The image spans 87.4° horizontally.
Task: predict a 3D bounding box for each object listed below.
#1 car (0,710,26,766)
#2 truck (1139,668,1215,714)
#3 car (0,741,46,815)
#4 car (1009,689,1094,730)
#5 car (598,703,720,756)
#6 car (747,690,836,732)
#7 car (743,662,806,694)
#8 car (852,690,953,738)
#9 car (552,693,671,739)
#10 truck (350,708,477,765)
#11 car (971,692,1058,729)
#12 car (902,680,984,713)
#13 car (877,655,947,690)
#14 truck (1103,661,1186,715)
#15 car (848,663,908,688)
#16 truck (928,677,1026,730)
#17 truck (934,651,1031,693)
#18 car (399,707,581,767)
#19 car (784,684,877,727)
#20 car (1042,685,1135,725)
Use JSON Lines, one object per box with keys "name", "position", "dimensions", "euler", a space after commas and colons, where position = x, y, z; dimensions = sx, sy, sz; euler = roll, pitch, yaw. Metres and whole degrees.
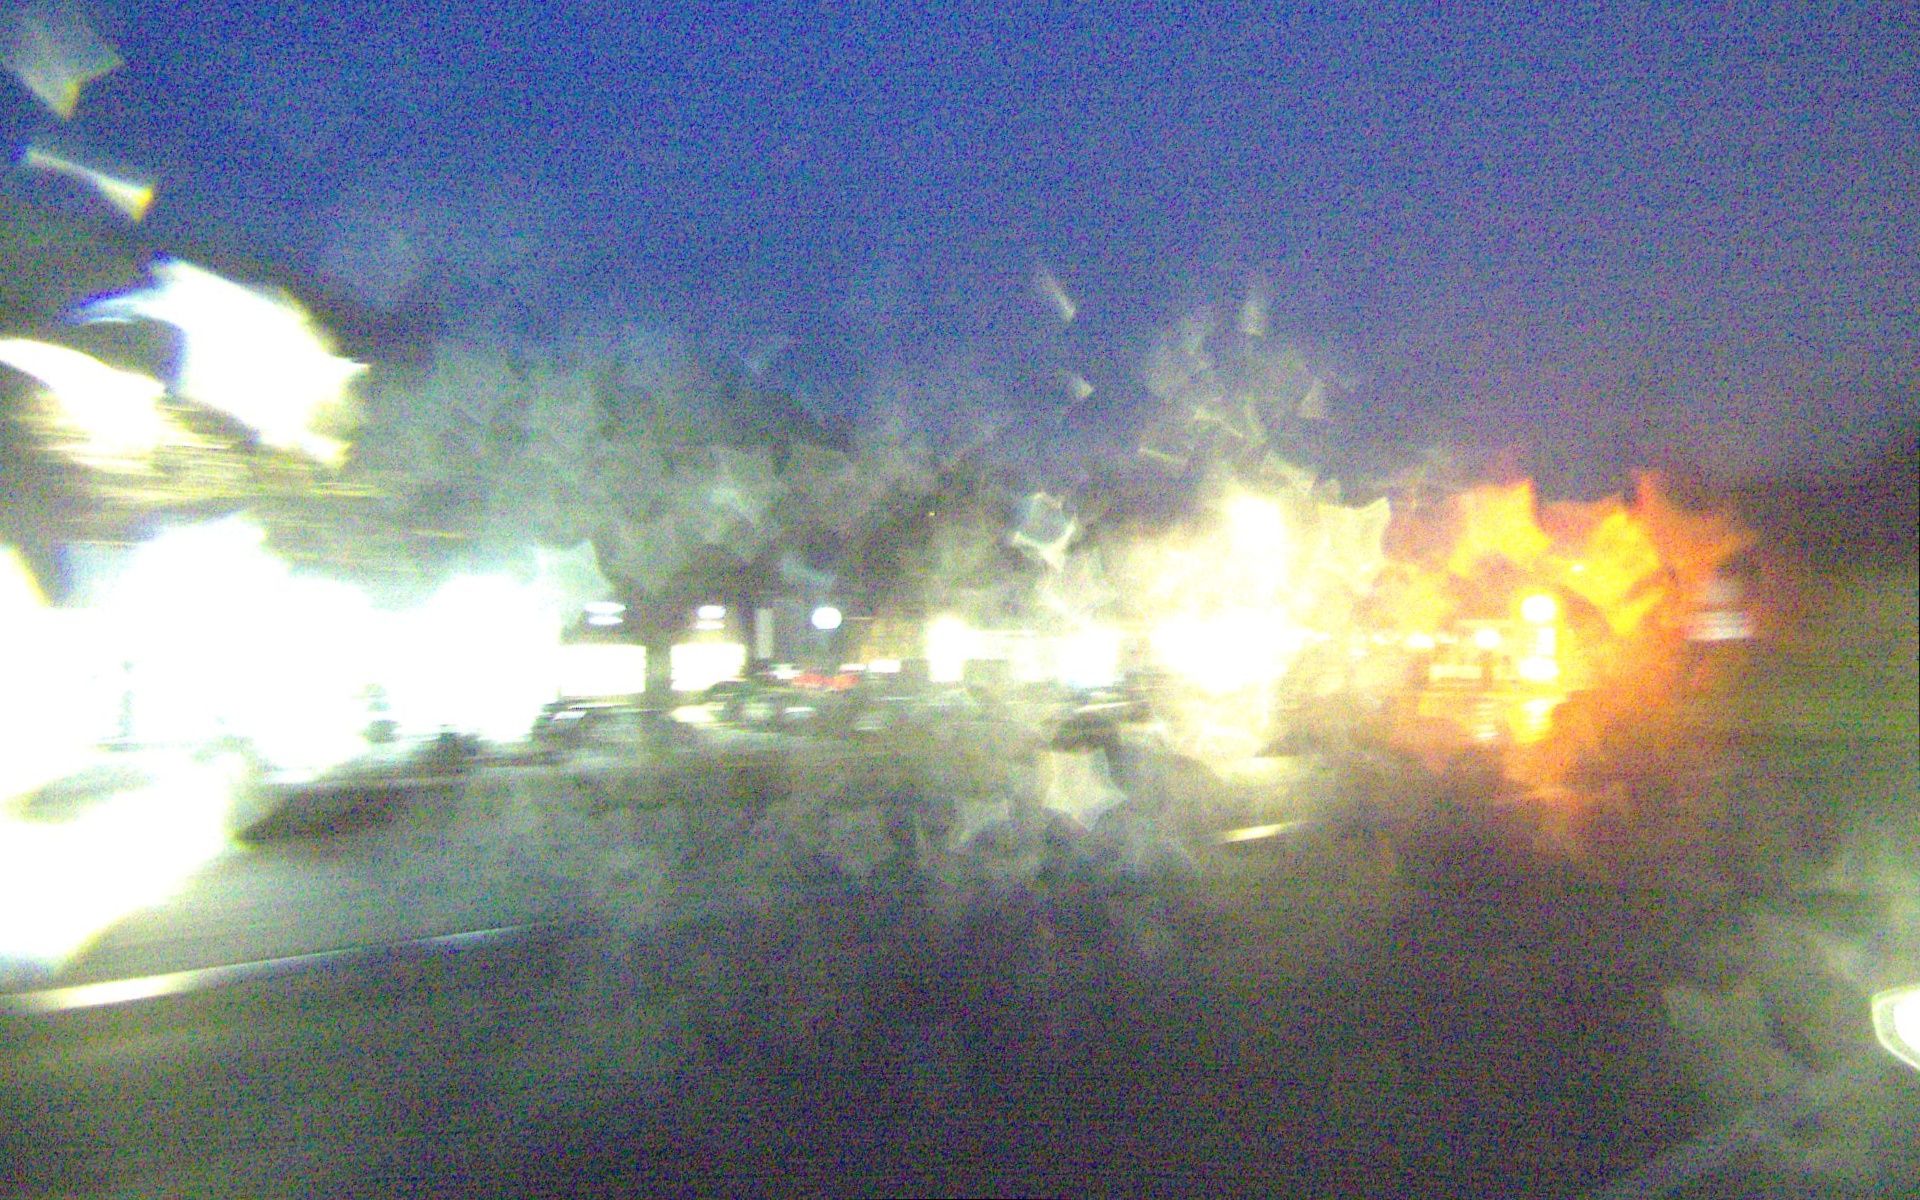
{"name": "car", "position": [-34.265, 4.831, 34.876], "dimensions": [1.980, 1.879, 3.965], "euler": [3, -7, -34]}
{"name": "truck", "position": [13.377, 5.555, 61.759], "dimensions": [5.137, 2.664, 1.758], "euler": [3, -8, -40]}
{"name": "car", "position": [-21.656, 3.882, 21.938], "dimensions": [1.892, 1.473, 3.965], "euler": [3, -7, -34]}
{"name": "car", "position": [4.284, 5.102, 46.898], "dimensions": [3.715, 1.714, 1.761], "euler": [2, -7, -36]}
{"name": "car", "position": [-10.177, 4.379, 34.323], "dimensions": [1.782, 1.586, 4.208], "euler": [-3, -5, 21]}
{"name": "car", "position": [-7.301, 4.799, 43.672], "dimensions": [3.483, 1.638, 1.667], "euler": [3, -6, -39]}
{"name": "car", "position": [-13.541, 5.666, 73.380], "dimensions": [4.112, 2.159, 1.985], "euler": [2, -1, -29]}
{"name": "car", "position": [-2.185, 4.316, 38.317], "dimensions": [3.483, 1.638, 1.733], "euler": [3, -6, -39]}
{"name": "car", "position": [-13.376, 4.453, 38.845], "dimensions": [1.962, 1.586, 4.411], "euler": [-3, -5, 21]}
{"name": "truck", "position": [-23.164, 5.746, 42.670], "dimensions": [4.457, 2.145, 2.068], "euler": [3, -8, -39]}
{"name": "car", "position": [2.662, 5.351, 48.591], "dimensions": [3.962, 1.616, 1.760], "euler": [2, -7, -37]}
{"name": "car", "position": [-0.873, 5.059, 52.784], "dimensions": [3.962, 1.616, 1.760], "euler": [2, -7, -37]}
{"name": "car", "position": [-3.296, 4.944, 69.051], "dimensions": [4.410, 2.294, 1.982], "euler": [2, -1, -33]}
{"name": "truck", "position": [11.850, 5.597, 64.238], "dimensions": [5.666, 3.215, 1.986], "euler": [3, -8, -40]}
{"name": "car", "position": [-5.975, 5.477, 73.242], "dimensions": [3.954, 1.735, 1.850], "euler": [2, -1, -31]}
{"name": "truck", "position": [0.888, 5.181, 50.568], "dimensions": [4.773, 2.475, 1.760], "euler": [2, -7, -37]}
{"name": "truck", "position": [1.508, 4.633, 65.510], "dimensions": [6.442, 2.495, 2.300], "euler": [2, -1, -41]}
{"name": "car", "position": [-14.607, 4.227, 31.478], "dimensions": [1.969, 1.587, 4.838], "euler": [-5, -6, 36]}
{"name": "car", "position": [-5.395, 4.376, 41.879], "dimensions": [3.483, 1.638, 1.733], "euler": [3, -6, -39]}
{"name": "car", "position": [5.761, 4.661, 44.829], "dimensions": [3.962, 1.616, 1.760], "euler": [2, -7, -37]}
